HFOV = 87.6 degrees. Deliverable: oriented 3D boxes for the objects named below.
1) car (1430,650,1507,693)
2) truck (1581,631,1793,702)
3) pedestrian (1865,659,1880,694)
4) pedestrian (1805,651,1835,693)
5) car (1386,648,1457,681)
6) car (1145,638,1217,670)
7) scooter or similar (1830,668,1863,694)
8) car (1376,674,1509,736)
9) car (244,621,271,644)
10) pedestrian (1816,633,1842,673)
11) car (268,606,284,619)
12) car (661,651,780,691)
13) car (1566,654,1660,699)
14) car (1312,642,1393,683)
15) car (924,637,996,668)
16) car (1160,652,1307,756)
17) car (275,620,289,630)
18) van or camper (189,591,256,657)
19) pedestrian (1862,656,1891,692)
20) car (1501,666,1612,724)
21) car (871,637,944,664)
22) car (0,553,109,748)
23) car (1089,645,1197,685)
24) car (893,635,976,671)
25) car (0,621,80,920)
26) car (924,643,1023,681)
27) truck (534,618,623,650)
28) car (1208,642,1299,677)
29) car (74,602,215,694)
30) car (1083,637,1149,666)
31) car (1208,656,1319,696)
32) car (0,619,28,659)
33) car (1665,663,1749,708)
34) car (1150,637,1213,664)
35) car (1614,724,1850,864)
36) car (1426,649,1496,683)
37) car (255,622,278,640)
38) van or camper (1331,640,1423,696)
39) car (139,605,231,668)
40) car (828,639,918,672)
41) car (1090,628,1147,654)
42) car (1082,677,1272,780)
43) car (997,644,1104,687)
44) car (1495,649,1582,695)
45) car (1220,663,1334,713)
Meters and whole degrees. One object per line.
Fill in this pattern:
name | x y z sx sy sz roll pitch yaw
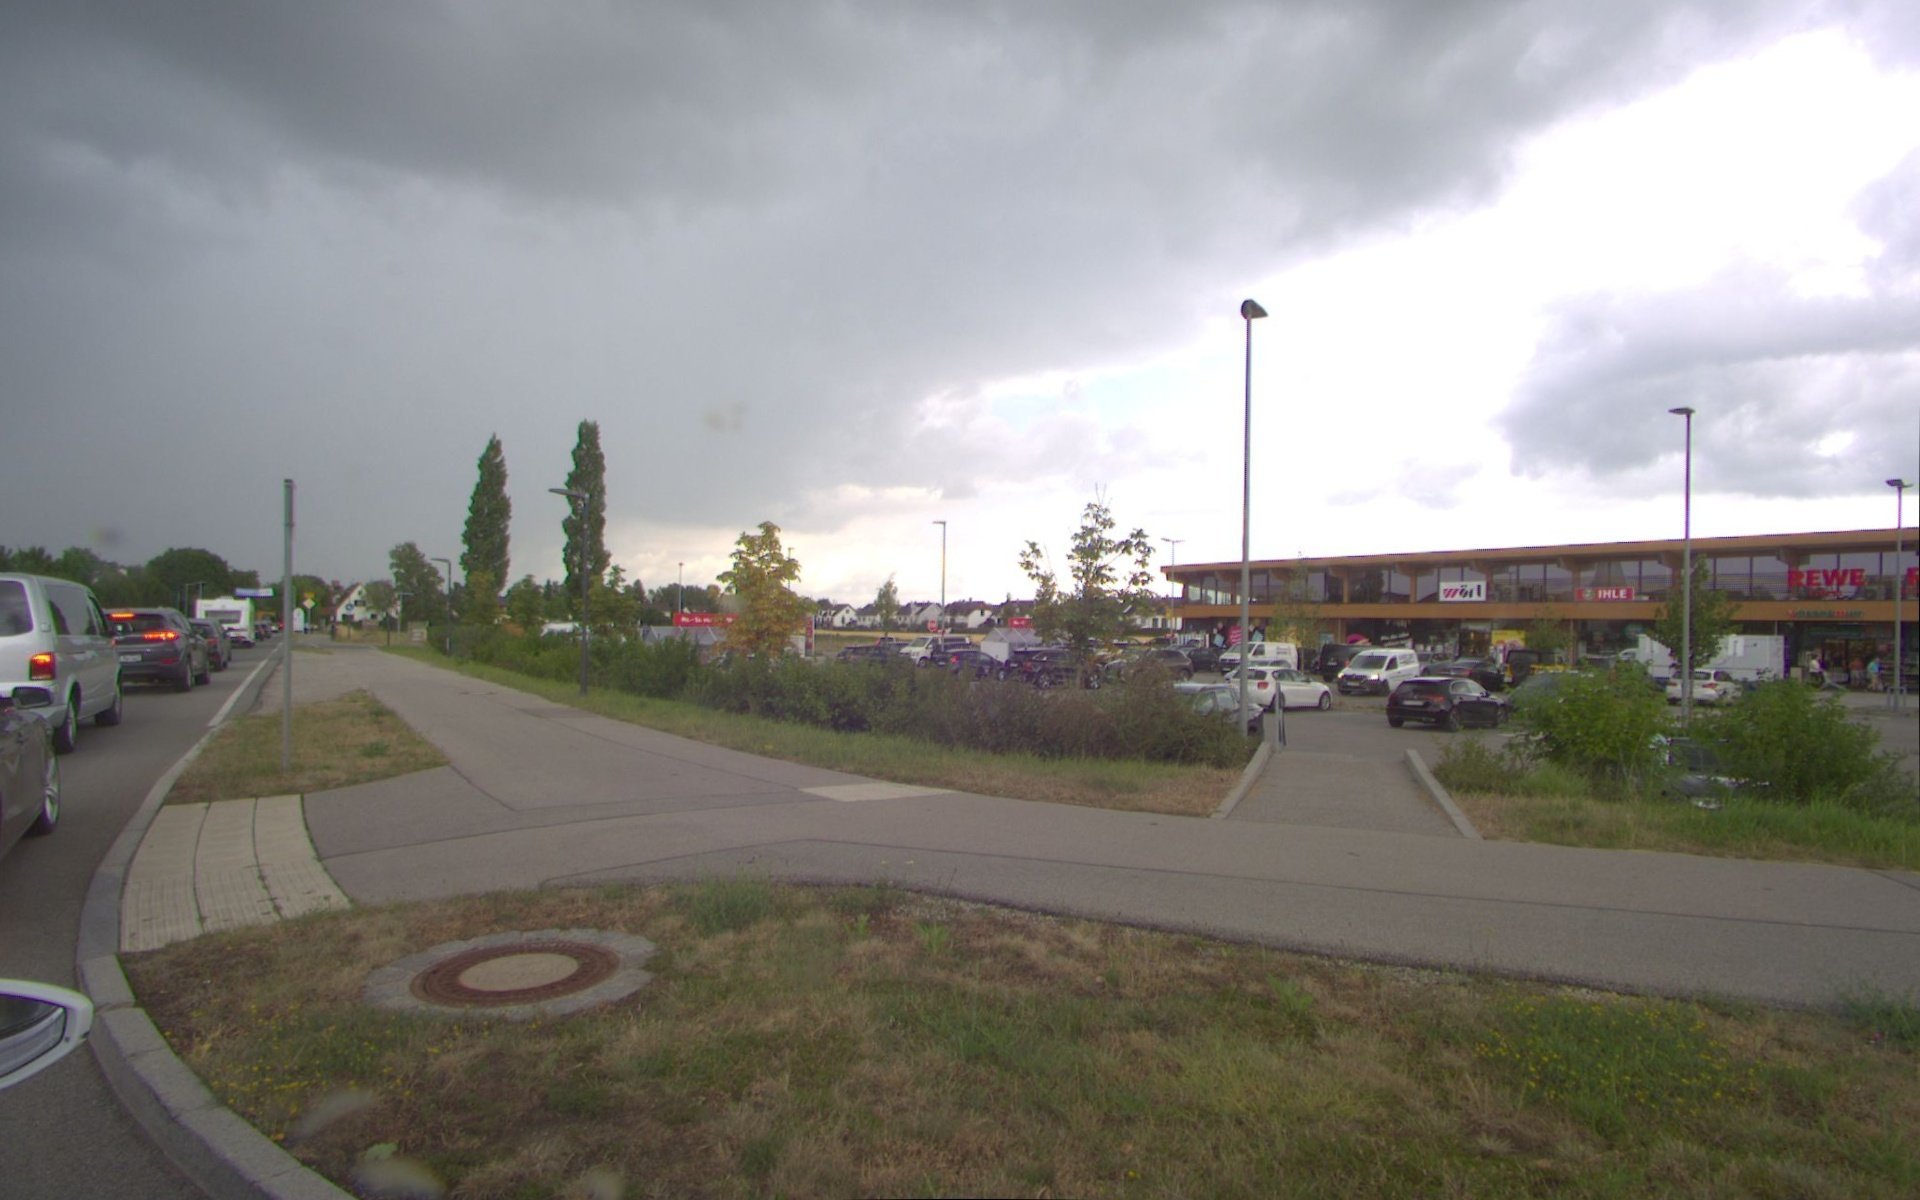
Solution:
car | 23.657 3.318 46.537 3.955 1.878 1.758 3 -2 -39
truck | 32.437 2.866 44.922 2.943 2.843 7.200 2 -2 -38
pedestrian | 52.185 4.380 57.265 0.520 1.974 0.573 1 -1 -43
pedestrian | 41.096 3.449 47.858 0.784 1.921 0.922 4 -3 -35
car | 24.885 3.464 53.973 4.177 1.632 1.754 3 -2 -38
car | 13.420 3.282 60.735 3.944 1.861 1.990 2 -1 -30
scooter or similar | 41.630 3.809 47.040 0.784 1.140 0.996 5 -3 -35
car | 13.428 2.847 27.782 3.955 1.416 1.822 2 -1 -39
car | -56.927 2.653 81.154 1.597 1.817 3.976 2 -2 -33
pedestrian | 45.168 2.733 52.070 0.797 2.040 0.923 1 -1 -42
car | -122.162 2.278 178.945 1.971 2.240 3.980 2 -1 -29
car | -9.494 2.775 39.792 4.192 1.458 1.987 2 -2 -34
car | 26.573 3.079 40.743 4.069 1.746 1.840 3 -3 -35
car | 20.095 3.201 51.226 3.951 1.860 1.987 5 -3 -34
car | 0.021 3.065 58.318 3.949 1.727 1.705 2 -2 -35
car | 4.062 1.444 14.505 1.552 1.221 3.749 2 -3 23
car | -95.254 3.496 140.715 1.597 1.427 3.594 2 -2 -33
van or camper | -40.222 1.356 54.746 2.600 3.365 6.779 2 -3 -34
pedestrian | 43.118 3.473 47.124 0.737 1.679 0.804 1 -1 18
car | 18.491 2.873 30.992 3.956 1.573 1.717 2 -2 -40
car | -3.301 3.186 63.224 4.268 1.598 1.757 2 -2 -32
car | -11.126 0.525 11.438 1.851 1.959 3.971 2 -2 -37
car | 8.429 2.936 45.920 4.927 1.686 1.987 2 -2 -35
car | -1.528 3.175 61.256 5.077 2.040 1.980 2 0 -45
car | -5.861 0.819 5.041 1.768 1.409 4.103 0 -1 -36
car | 0.665 2.939 47.848 4.361 1.686 1.987 2 -1 -34
truck | -23.690 2.135 62.255 4.757 1.896 1.985 3 -2 -38
car | 16.213 3.279 55.243 5.236 1.854 1.988 3 -3 -34
car | -16.320 0.899 20.228 1.758 1.639 3.975 -1 0 -33
car | 10.194 3.362 65.442 3.944 1.861 1.990 2 -2 -30
car | 12.622 3.108 41.560 4.728 1.503 1.892 2 -2 -35
car | -35.887 1.396 36.456 1.733 1.434 4.435 2 -2 -28
car | 28.755 3.242 38.510 3.956 1.549 1.717 2 -2 -40
car | 15.264 3.471 68.979 3.946 1.794 1.989 2 -2 -32
car | 10.920 2.662 14.467 1.553 1.389 3.728 1 -2 19
car | 26.156 3.417 52.225 3.848 1.674 1.755 3 -2 -37
car | -64.207 2.867 92.686 1.597 1.651 3.594 2 -2 -33
van or camper | 17.300 2.767 41.407 4.760 2.125 1.748 3 -2 -44
car | -21.749 1.008 28.229 1.759 1.639 3.975 1 -2 -34
car | -4.739 3.015 54.729 4.513 1.686 1.987 2 -1 -34
car | 11.773 3.036 74.419 3.944 1.864 1.865 2 -2 -30
car | 4.399 2.465 20.003 3.960 1.628 1.774 1 -1 -43
car | 3.883 2.789 42.667 4.409 1.727 1.792 3 -2 -35
car | 25.376 3.133 43.888 3.949 1.878 1.761 2 -2 -34
car | 10.475 2.854 32.993 3.952 1.504 1.670 3 -3 -39
